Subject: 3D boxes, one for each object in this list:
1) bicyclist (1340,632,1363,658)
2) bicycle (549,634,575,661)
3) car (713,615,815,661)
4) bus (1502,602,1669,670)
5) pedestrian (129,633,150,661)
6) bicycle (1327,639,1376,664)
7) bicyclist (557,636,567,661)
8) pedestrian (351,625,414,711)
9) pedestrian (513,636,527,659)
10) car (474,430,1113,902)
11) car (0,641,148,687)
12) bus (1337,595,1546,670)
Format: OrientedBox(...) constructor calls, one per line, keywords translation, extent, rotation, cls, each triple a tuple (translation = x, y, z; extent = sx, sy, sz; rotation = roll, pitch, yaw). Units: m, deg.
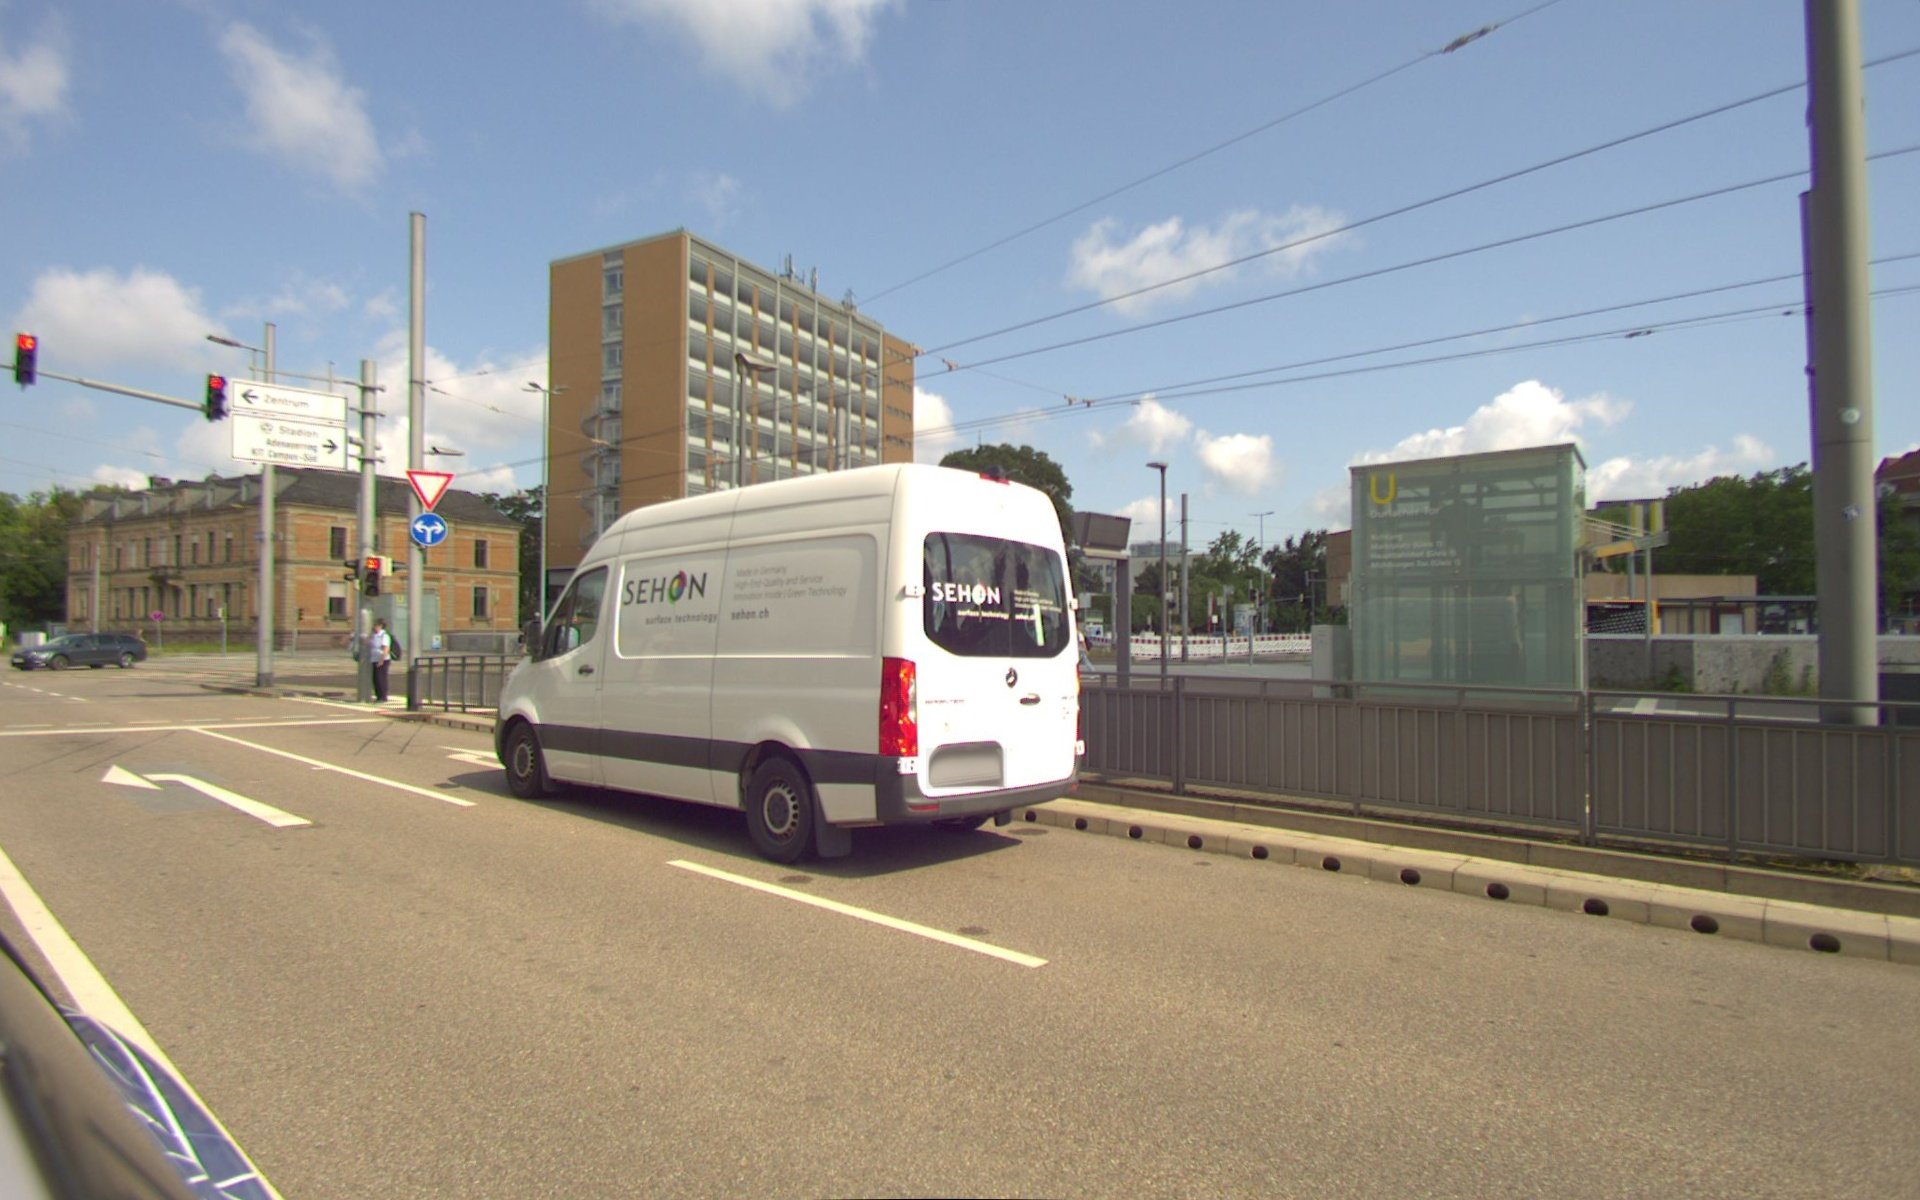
OrientedBox(translation=(19.021, 2.202, 49.149), extent=(0.727, 1.161, 0.698), rotation=(4, 2, -7), cls="bicyclist")
OrientedBox(translation=(-27.314, 3.245, 69.521), extent=(1.609, 1.791, 0.734), rotation=(1, -2, -23), cls="bicycle")
OrientedBox(translation=(-12.671, 2.469, 65.585), extent=(6.045, 2.901, 2.493), rotation=(1, -3, -33), cls="car")
OrientedBox(translation=(24.913, 1.438, 40.474), extent=(4.999, 2.607, 2.705), rotation=(0, -2, -6), cls="bus")
OrientedBox(translation=(-50.984, 2.921, 62.879), extent=(0.856, 1.750, 0.775), rotation=(-1, -3, 32), cls="pedestrian")
OrientedBox(translation=(19.007, 2.513, 49.146), extent=(2.038, 1.000, 0.814), rotation=(4, 2, -7), cls="bicycle")
OrientedBox(translation=(-27.337, 3.331, 69.532), extent=(0.645, 1.683, 0.576), rotation=(1, -2, -21), cls="bicyclist")
OrientedBox(translation=(-11.649, 1.354, 20.427), extent=(0.794, 1.686, 0.834), rotation=(-1, -3, 39), cls="pedestrian")
OrientedBox(translation=(-30.621, 3.312, 70.423), extent=(0.752, 1.600, 0.775), rotation=(2, -1, -21), cls="pedestrian")
OrientedBox(translation=(-1.677, 0.438, 8.254), extent=(5.577, 2.642, 1.973), rotation=(-1, -3, 41), cls="car")
OrientedBox(translation=(-35.314, 2.492, 40.195), extent=(1.981, 1.290, 4.524), rotation=(2, 2, 14), cls="car")
OrientedBox(translation=(18.914, 1.302, 39.990), extent=(6.992, 2.855, 2.703), rotation=(0, -2, -5), cls="bus")
